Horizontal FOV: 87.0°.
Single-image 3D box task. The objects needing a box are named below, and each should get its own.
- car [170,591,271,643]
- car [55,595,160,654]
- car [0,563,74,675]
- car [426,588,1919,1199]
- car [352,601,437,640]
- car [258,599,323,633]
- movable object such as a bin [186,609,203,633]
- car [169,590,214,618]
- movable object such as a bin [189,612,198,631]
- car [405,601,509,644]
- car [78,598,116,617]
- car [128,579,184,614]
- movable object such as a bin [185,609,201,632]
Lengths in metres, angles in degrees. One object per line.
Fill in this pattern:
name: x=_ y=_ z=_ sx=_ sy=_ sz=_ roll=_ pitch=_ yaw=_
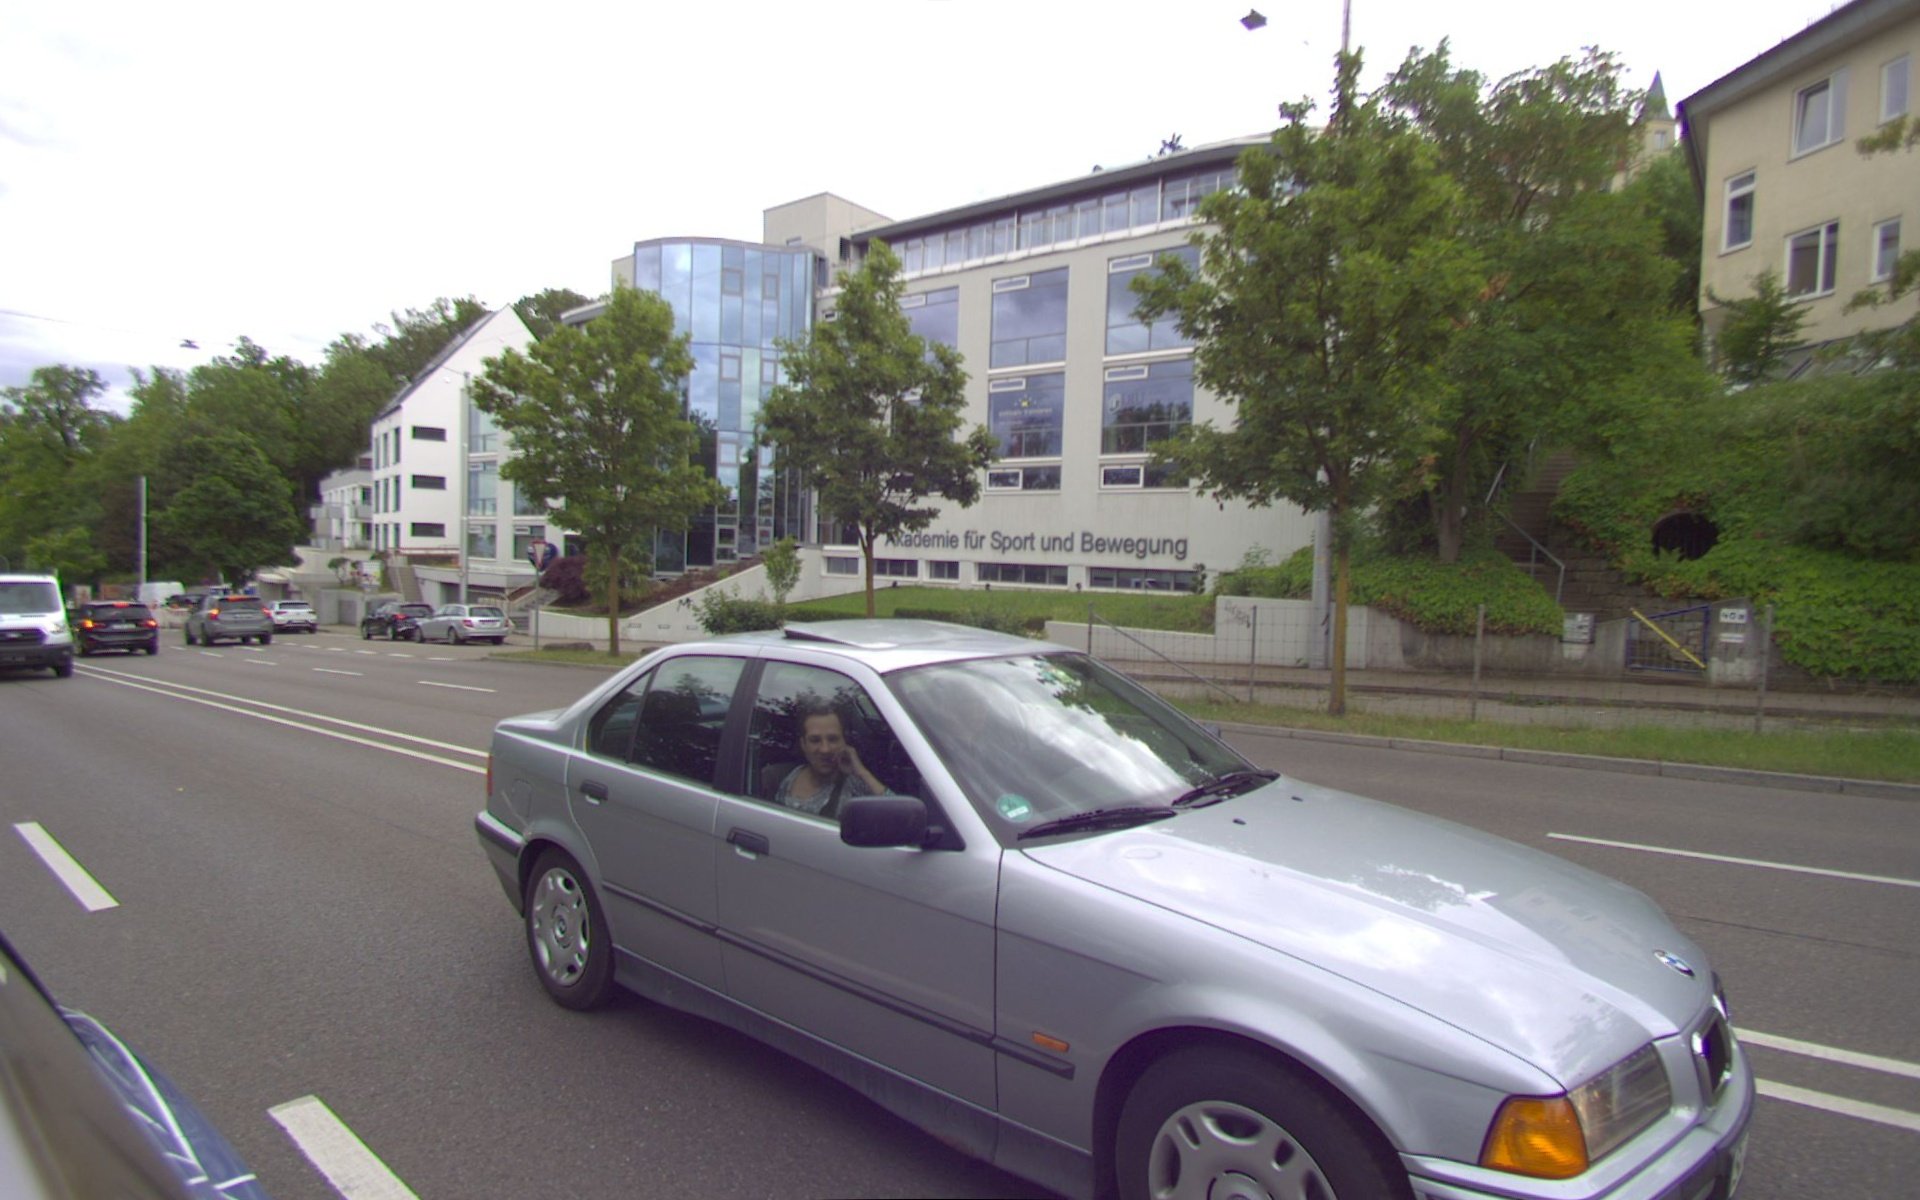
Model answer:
car: x=-26.359 y=0.591 z=35.995 sx=4.865 sy=1.721 sz=1.746 roll=-1 pitch=1 yaw=40
car: x=-25.281 y=0.681 z=29.964 sx=4.364 sy=1.604 sz=1.745 roll=0 pitch=1 yaw=42
car: x=-20.999 y=0.405 z=21.744 sx=6.262 sy=2.190 sz=1.974 roll=-1 pitch=0 yaw=40
car: x=0.061 y=0.690 z=3.304 sx=4.617 sy=1.393 sz=1.618 roll=0 pitch=1 yaw=41
car: x=-22.229 y=0.768 z=39.721 sx=4.088 sy=1.439 sz=1.655 roll=0 pitch=0 yaw=42
car: x=-31.594 y=0.716 z=47.717 sx=4.238 sy=1.515 sz=1.650 roll=0 pitch=0 yaw=43
movable object such as a bin: x=-38.644 y=1.057 z=51.083 sx=0.581 sy=1.146 sz=0.646 roll=-1 pitch=1 yaw=-42
car: x=-50.631 y=0.251 z=66.649 sx=1.785 sy=1.764 sz=4.253 roll=-2 pitch=2 yaw=-45
movable object such as a bin: x=-40.383 y=1.116 z=53.304 sx=0.322 sy=0.982 sz=0.426 roll=-1 pitch=1 yaw=-42
car: x=-18.071 y=0.799 z=36.274 sx=4.413 sy=1.439 sz=1.656 roll=0 pitch=-2 yaw=39
car: x=-67.656 y=0.594 z=79.341 sx=3.289 sy=1.453 sz=1.564 roll=0 pitch=1 yaw=36
car: x=-61.332 y=-0.255 z=77.149 sx=6.527 sy=2.545 sz=1.974 roll=0 pitch=2 yaw=39
movable object such as a bin: x=-39.067 y=1.057 z=51.548 sx=0.577 sy=1.146 sz=0.586 roll=-1 pitch=1 yaw=-42
